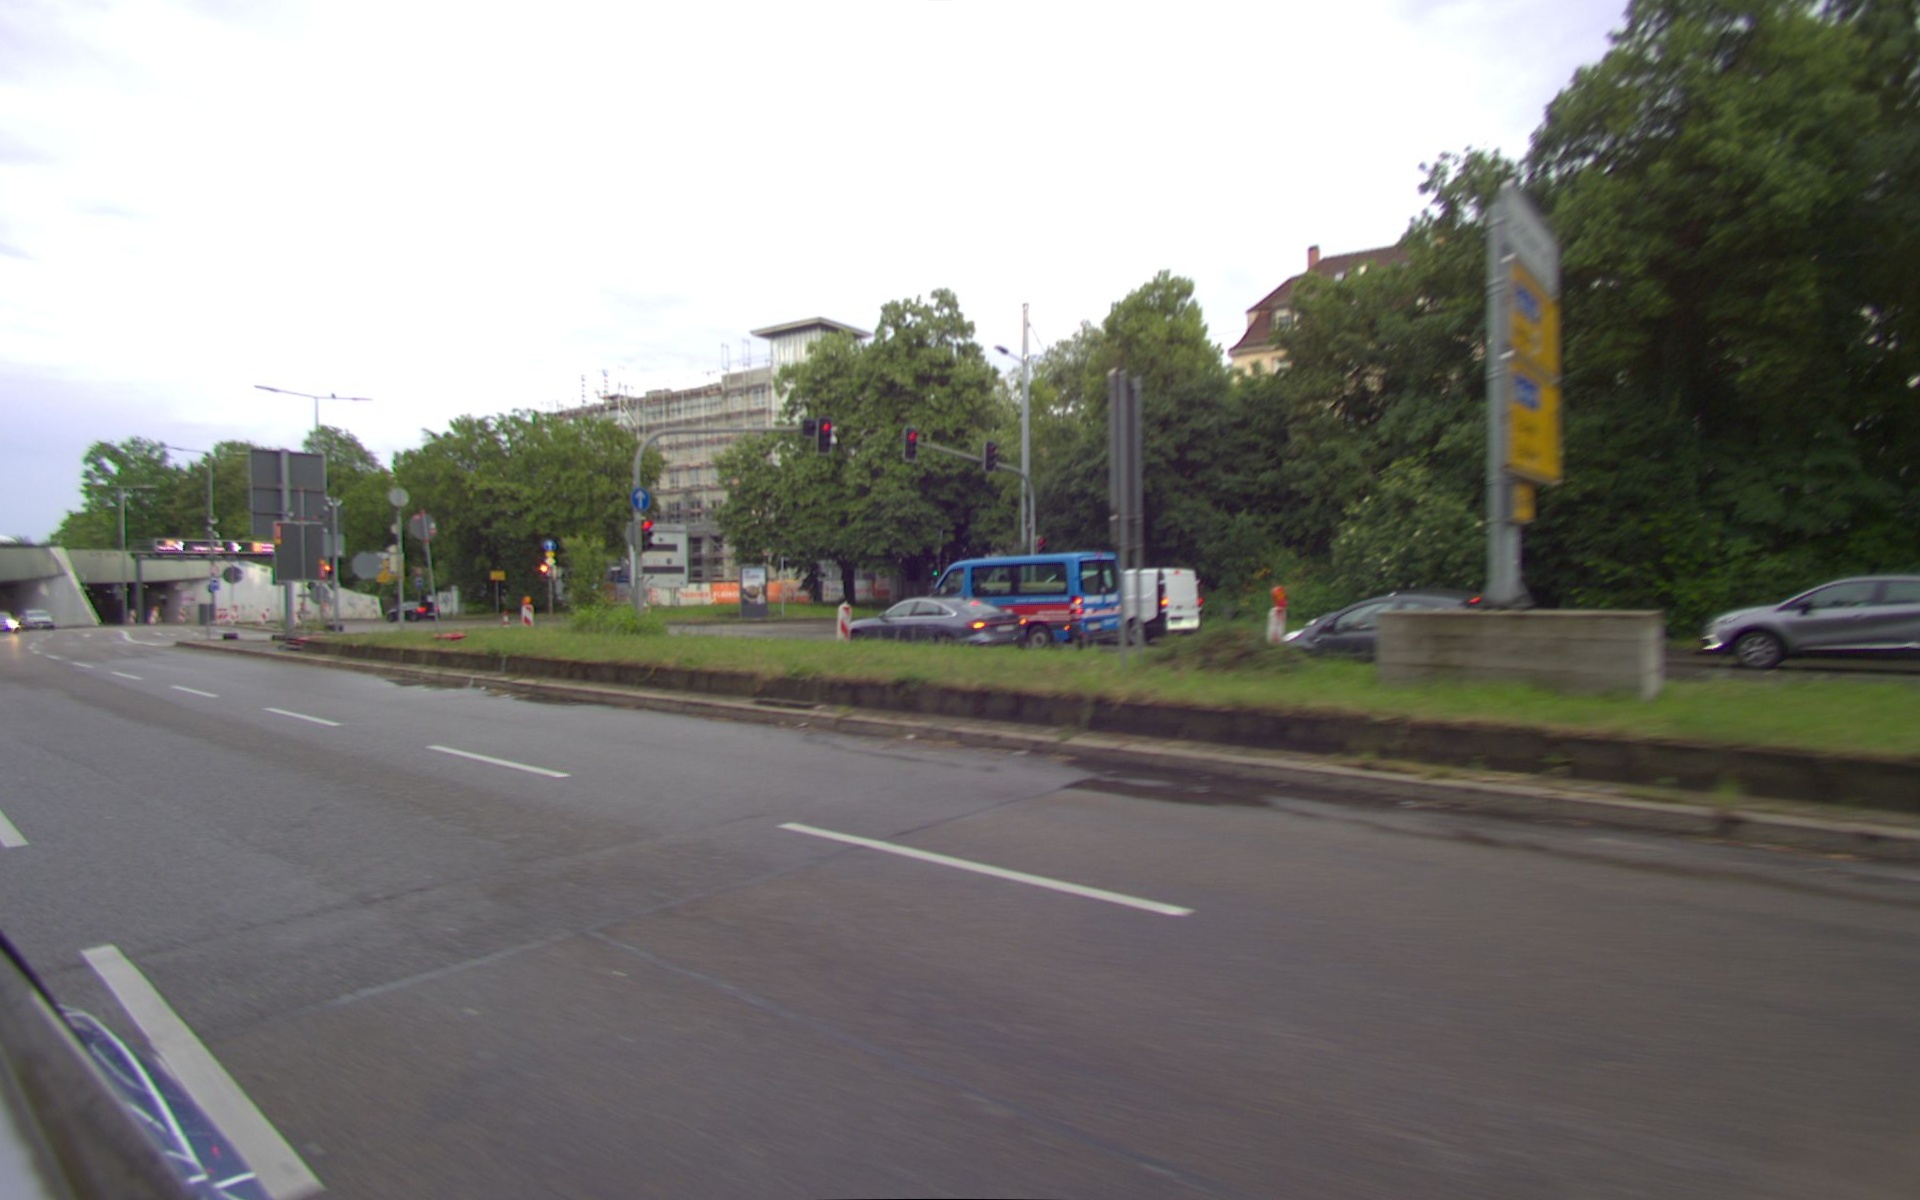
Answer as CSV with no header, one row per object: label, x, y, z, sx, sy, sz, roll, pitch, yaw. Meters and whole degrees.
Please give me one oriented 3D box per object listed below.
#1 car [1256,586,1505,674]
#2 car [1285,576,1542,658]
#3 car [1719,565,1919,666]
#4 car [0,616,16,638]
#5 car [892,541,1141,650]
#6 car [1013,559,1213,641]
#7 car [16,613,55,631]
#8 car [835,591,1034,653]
car,6.501,0.414,15.834,3.301,1.209,1.414,0,1,44
car,9.481,0.321,21.430,4.636,1.535,1.773,0,1,44
car,14.738,0.216,16.344,3.790,1.535,1.653,0,1,44
car,-62.869,1.755,65.731,3.820,1.411,1.677,-1,0,38
car,1.257,-0.057,25.320,6.244,2.408,2.171,-2,0,43
car,4.003,0.030,27.138,4.991,1.989,2.012,-2,0,43
car,-71.642,1.666,78.402,3.821,1.317,1.677,-1,0,39
car,-0.669,0.436,22.371,4.646,1.209,1.532,0,1,43
